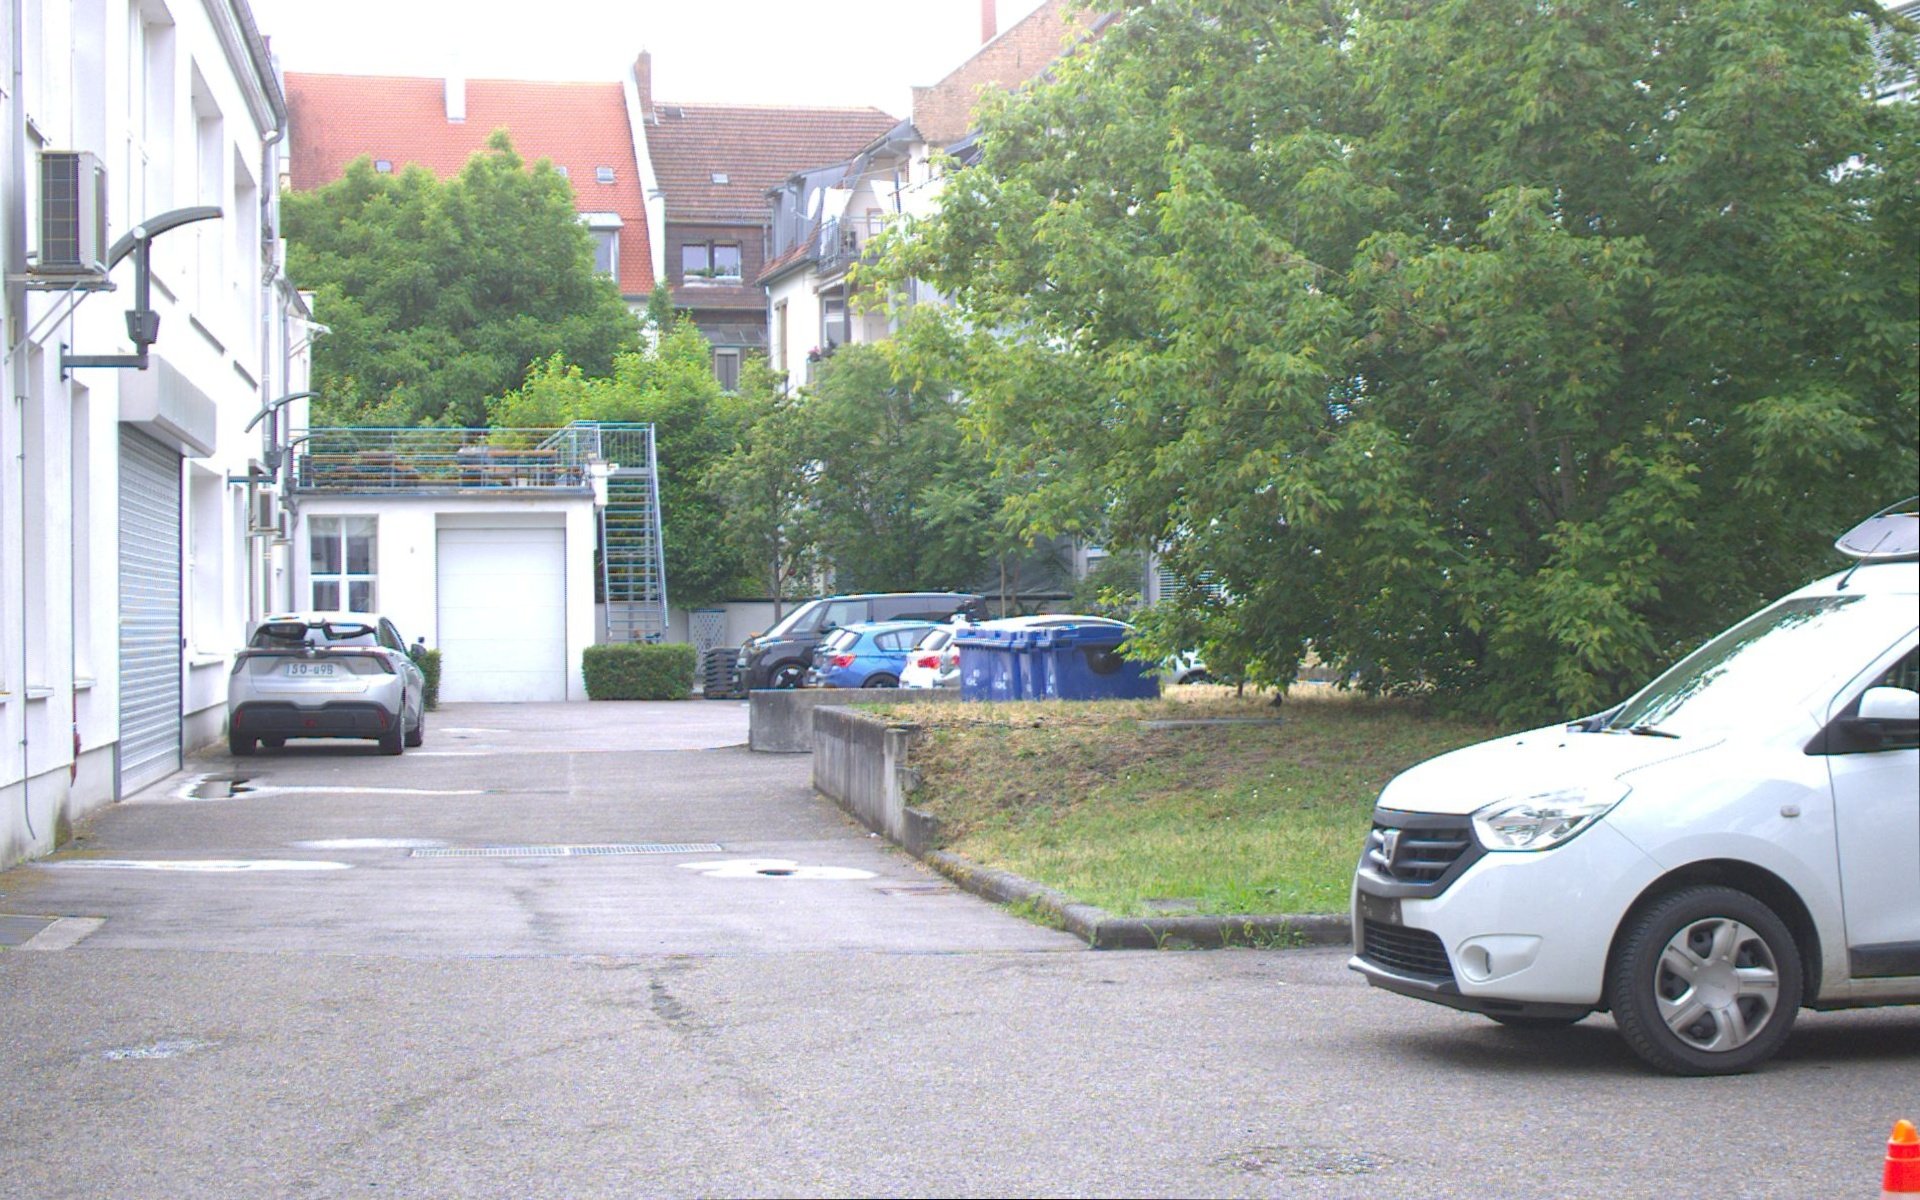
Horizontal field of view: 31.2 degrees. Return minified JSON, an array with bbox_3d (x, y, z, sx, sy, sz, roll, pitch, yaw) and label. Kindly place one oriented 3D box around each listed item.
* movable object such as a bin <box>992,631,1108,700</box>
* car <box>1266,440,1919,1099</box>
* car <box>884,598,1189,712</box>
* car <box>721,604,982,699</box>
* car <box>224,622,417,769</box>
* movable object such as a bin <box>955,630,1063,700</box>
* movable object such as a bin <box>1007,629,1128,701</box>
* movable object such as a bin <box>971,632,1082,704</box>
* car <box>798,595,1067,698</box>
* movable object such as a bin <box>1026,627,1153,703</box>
[{"bbox_3d":[0.844,0.616,32.412,0.965,0.634,0.911,0,-1,-7],"label":"movable object such as a bin"},{"bbox_3d":[3.424,0.518,11.855,4.336,2.007,1.855,0,-1,-13],"label":"car"},{"bbox_3d":[1.096,0.780,50.042,3.986,1.568,2.001,-1,0,-18],"label":"car"},{"bbox_3d":[-1.918,0.884,60.460,4.181,1.568,2.001,-1,0,-18],"label":"car"},{"bbox_3d":[-6.930,1.030,37.584,1.847,1.503,4.000,0,-1,-7],"label":"car"},{"bbox_3d":[0.481,0.646,34.301,0.965,0.677,0.871,0,-1,-7],"label":"movable object such as a bin"},{"bbox_3d":[0.969,0.592,31.237,0.965,0.634,0.911,0,-1,-7],"label":"movable object such as a bin"},{"bbox_3d":[0.643,0.659,33.447,0.965,0.677,0.811,0,-1,-7],"label":"movable object such as a bin"},{"bbox_3d":[-0.441,0.730,54.942,3.986,1.568,1.585,-1,0,-18],"label":"car"},{"bbox_3d":[1.116,0.566,29.899,0.965,0.634,0.911,0,-1,-7],"label":"movable object such as a bin"}]
